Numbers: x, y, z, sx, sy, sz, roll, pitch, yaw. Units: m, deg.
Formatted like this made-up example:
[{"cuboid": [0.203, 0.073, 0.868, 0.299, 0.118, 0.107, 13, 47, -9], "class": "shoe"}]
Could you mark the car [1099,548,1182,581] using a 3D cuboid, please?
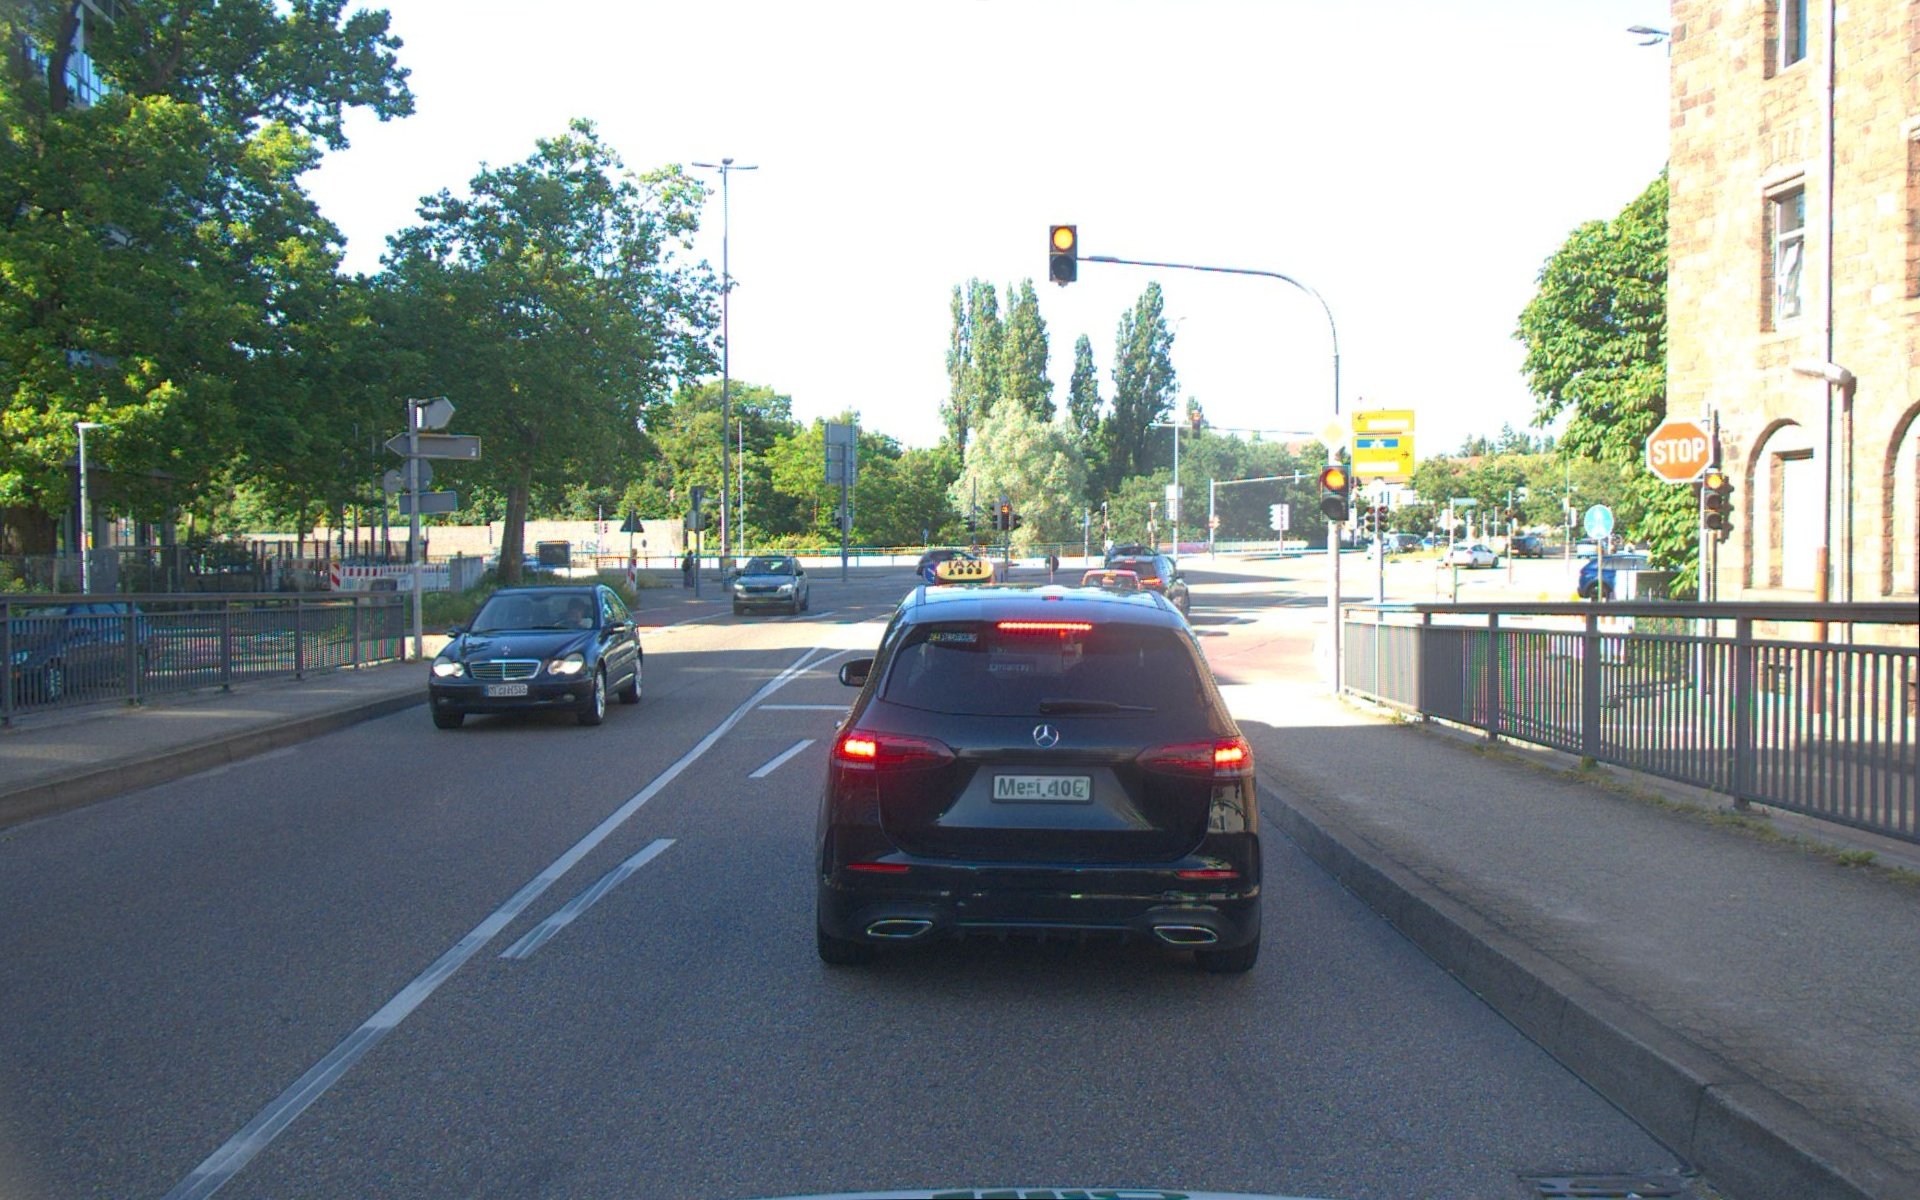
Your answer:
[{"cuboid": [9.487, -1.848, 87.005, 3.927, 1.574, 1.880, 1, 0, -19], "class": "car"}]

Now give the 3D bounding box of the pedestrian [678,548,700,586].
[{"cuboid": [-11.114, -1.354, 67.831, 0.690, 1.552, 0.744, 1, 1, 10], "class": "pedestrian"}]

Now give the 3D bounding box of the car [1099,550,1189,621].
[{"cuboid": [5.083, -0.436, 45.135, 1.685, 1.843, 4.301, 0, 2, 17], "class": "car"}]

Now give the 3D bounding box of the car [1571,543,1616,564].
[{"cuboid": [44.266, -3.257, 115.521, 1.958, 1.317, 4.582, 0, 3, 33], "class": "car"}]

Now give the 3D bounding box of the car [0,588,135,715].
[{"cuboid": [-14.768, 0.734, 25.788, 1.814, 1.722, 4.000, 0, 2, -1], "class": "car"}]

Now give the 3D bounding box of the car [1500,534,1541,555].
[{"cuboid": [39.155, -3.878, 115.501, 1.845, 1.317, 4.587, 0, 3, 30], "class": "car"}]

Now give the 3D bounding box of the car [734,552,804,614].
[{"cuboid": [-5.466, -0.533, 47.709, 1.768, 1.651, 3.998, 0, 2, -3], "class": "car"}]

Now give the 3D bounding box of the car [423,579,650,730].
[{"cuboid": [-4.604, 0.513, 18.562, 1.707, 1.431, 4.198, -1, 1, -4], "class": "car"}]

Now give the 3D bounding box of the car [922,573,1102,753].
[{"cuboid": [0.513, 0.542, 16.714, 1.606, 1.556, 3.475, -1, 2, 1], "class": "car"}]

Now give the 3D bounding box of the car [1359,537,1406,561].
[{"cuboid": [29.433, -3.535, 115.158, 1.846, 1.605, 3.987, 1, 2, 35], "class": "car"}]

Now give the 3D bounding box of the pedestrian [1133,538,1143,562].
[{"cuboid": [11.971, -3.344, 111.098, 0.443, 1.613, 0.499, 0, 2, 40], "class": "pedestrian"}]

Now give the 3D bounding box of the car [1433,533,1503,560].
[{"cuboid": [29.023, -3.060, 94.444, 4.279, 1.389, 1.970, -4, 4, -42], "class": "car"}]

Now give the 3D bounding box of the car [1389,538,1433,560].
[{"cuboid": [32.835, -3.722, 120.366, 1.846, 1.605, 3.987, 1, 2, 35], "class": "car"}]

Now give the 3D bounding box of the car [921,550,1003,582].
[{"cuboid": [0.107, -1.673, 80.863, 3.903, 1.524, 1.745, 0, 0, 4], "class": "car"}]

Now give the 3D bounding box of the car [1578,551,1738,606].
[{"cuboid": [22.072, -0.726, 52.348, 4.321, 1.619, 1.913, 2, 3, 40], "class": "car"}]

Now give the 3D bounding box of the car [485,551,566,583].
[{"cuboid": [-23.367, -1.783, 89.000, 3.908, 1.658, 1.890, 0, 1, 25], "class": "car"}]

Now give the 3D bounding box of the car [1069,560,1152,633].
[{"cuboid": [3.637, -0.117, 39.471, 1.685, 1.548, 3.490, 0, 3, 10], "class": "car"}]

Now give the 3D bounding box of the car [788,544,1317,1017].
[{"cuboid": [0.301, 0.612, 7.824, 1.839, 1.641, 4.000, 1, 1, -1], "class": "car"}]

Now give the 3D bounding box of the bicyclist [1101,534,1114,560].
[{"cuboid": [9.116, -3.257, 102.230, 0.515, 1.578, 0.807, -1, 1, 24], "class": "bicyclist"}]
